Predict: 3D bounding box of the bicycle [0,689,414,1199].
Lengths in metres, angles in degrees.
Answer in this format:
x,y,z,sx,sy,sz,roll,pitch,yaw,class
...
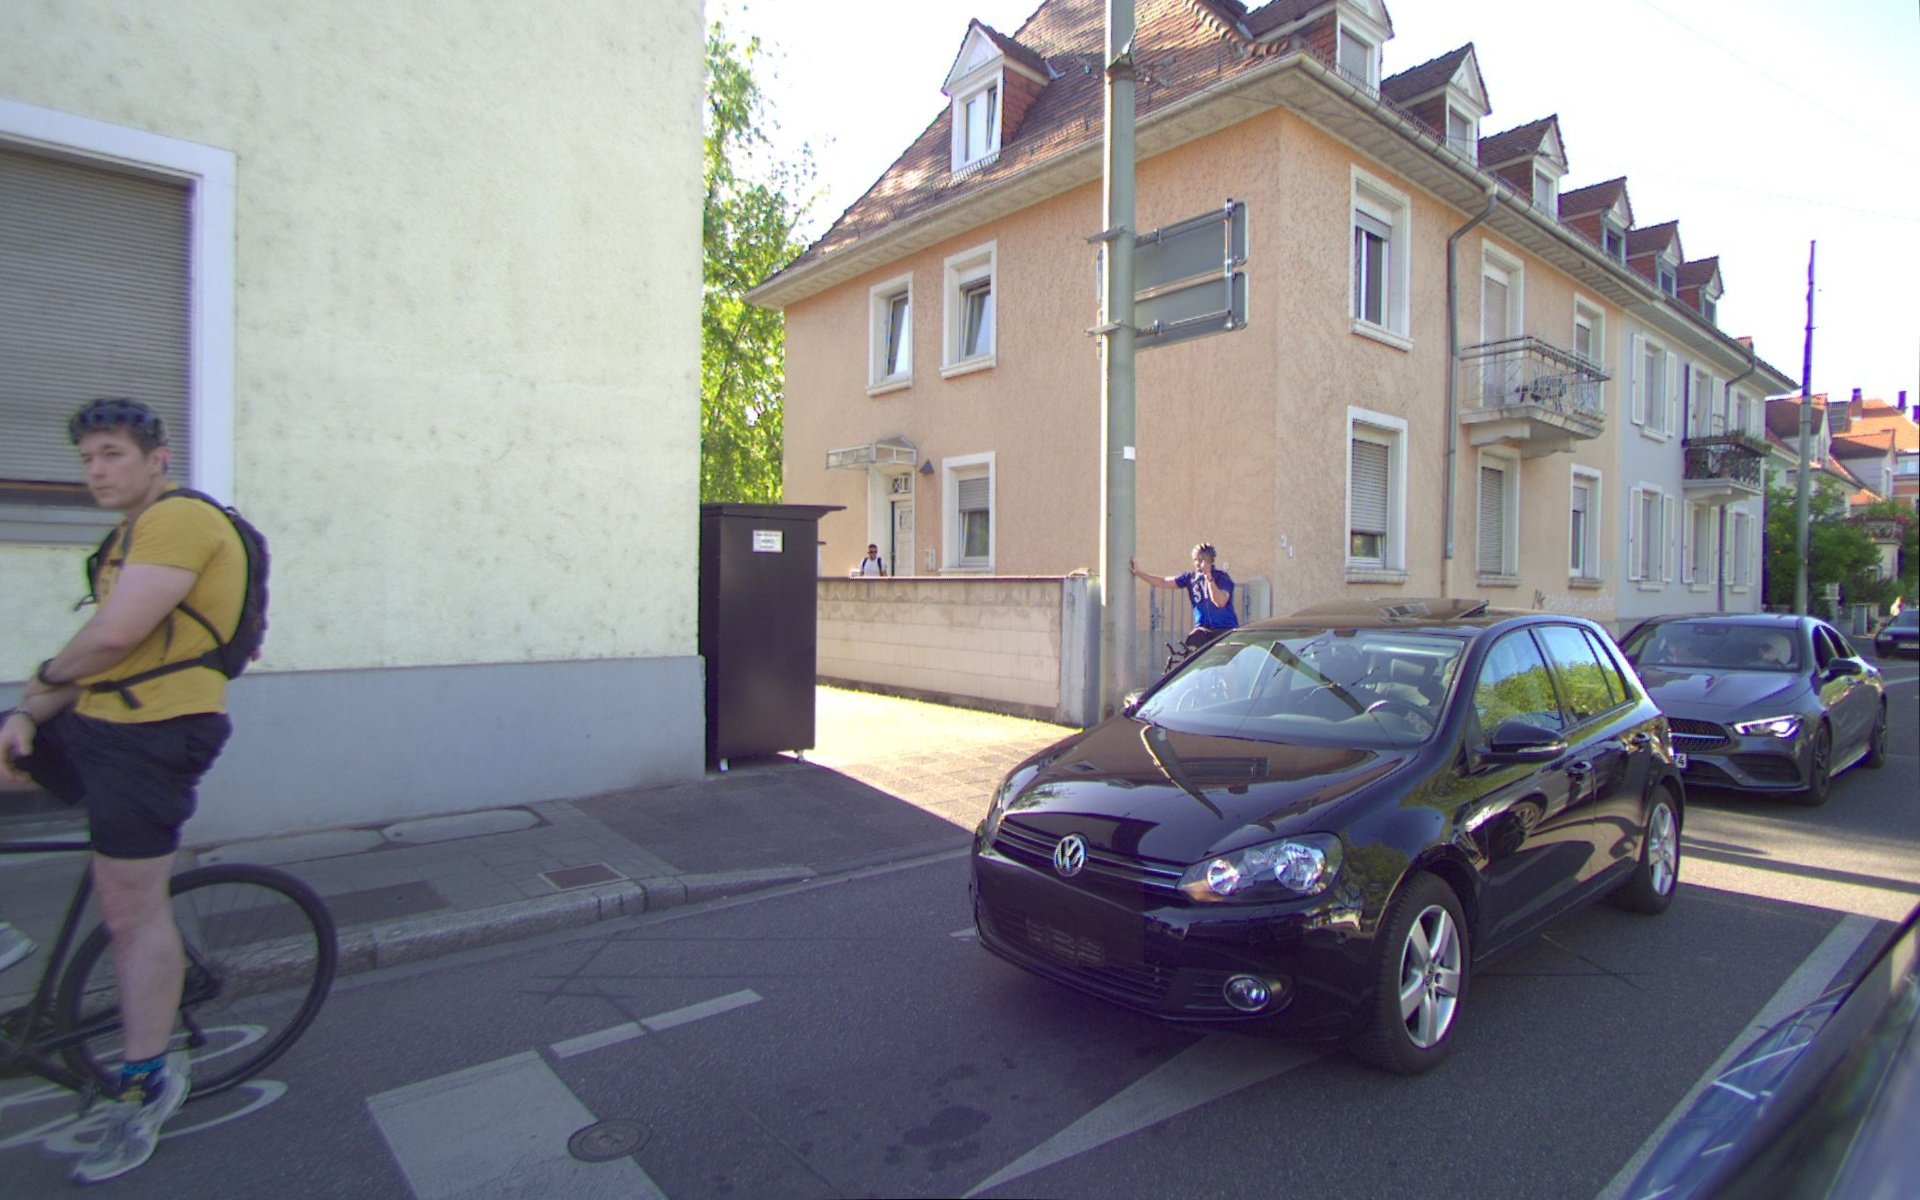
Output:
x,y,z,sx,sy,sz,roll,pitch,yaw,class
-2.453,0.871,2.569,0.777,1.120,1.720,0,0,36,bicycle

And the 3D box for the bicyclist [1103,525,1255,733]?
x,y,z,sx,sy,sz,roll,pitch,yaw,class
1.961,0.219,9.101,1.018,1.714,0.718,6,4,42,bicyclist

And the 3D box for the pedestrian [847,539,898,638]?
x,y,z,sx,sy,sz,roll,pitch,yaw,class
-1.523,-0.214,17.555,0.598,1.624,0.763,2,5,-23,pedestrian

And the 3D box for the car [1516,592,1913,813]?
x,y,z,sx,sy,sz,roll,pitch,yaw,class
6.711,0.697,8.808,4.410,1.449,1.824,1,0,-40,car

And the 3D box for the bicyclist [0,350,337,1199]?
x,y,z,sx,sy,sz,roll,pitch,yaw,class
-2.294,0.429,2.763,0.777,1.991,0.768,0,0,36,bicyclist

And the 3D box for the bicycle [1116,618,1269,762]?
x,y,z,sx,sy,sz,roll,pitch,yaw,class
2.093,0.742,8.982,0.554,1.088,1.601,6,4,42,bicycle

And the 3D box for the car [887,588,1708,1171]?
x,y,z,sx,sy,sz,roll,pitch,yaw,class
1.755,0.685,4.495,3.921,1.456,1.716,-1,0,-41,car

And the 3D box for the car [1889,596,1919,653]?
x,y,z,sx,sy,sz,roll,pitch,yaw,class
26.775,0.627,27.442,4.258,1.448,1.824,-1,0,-40,car
